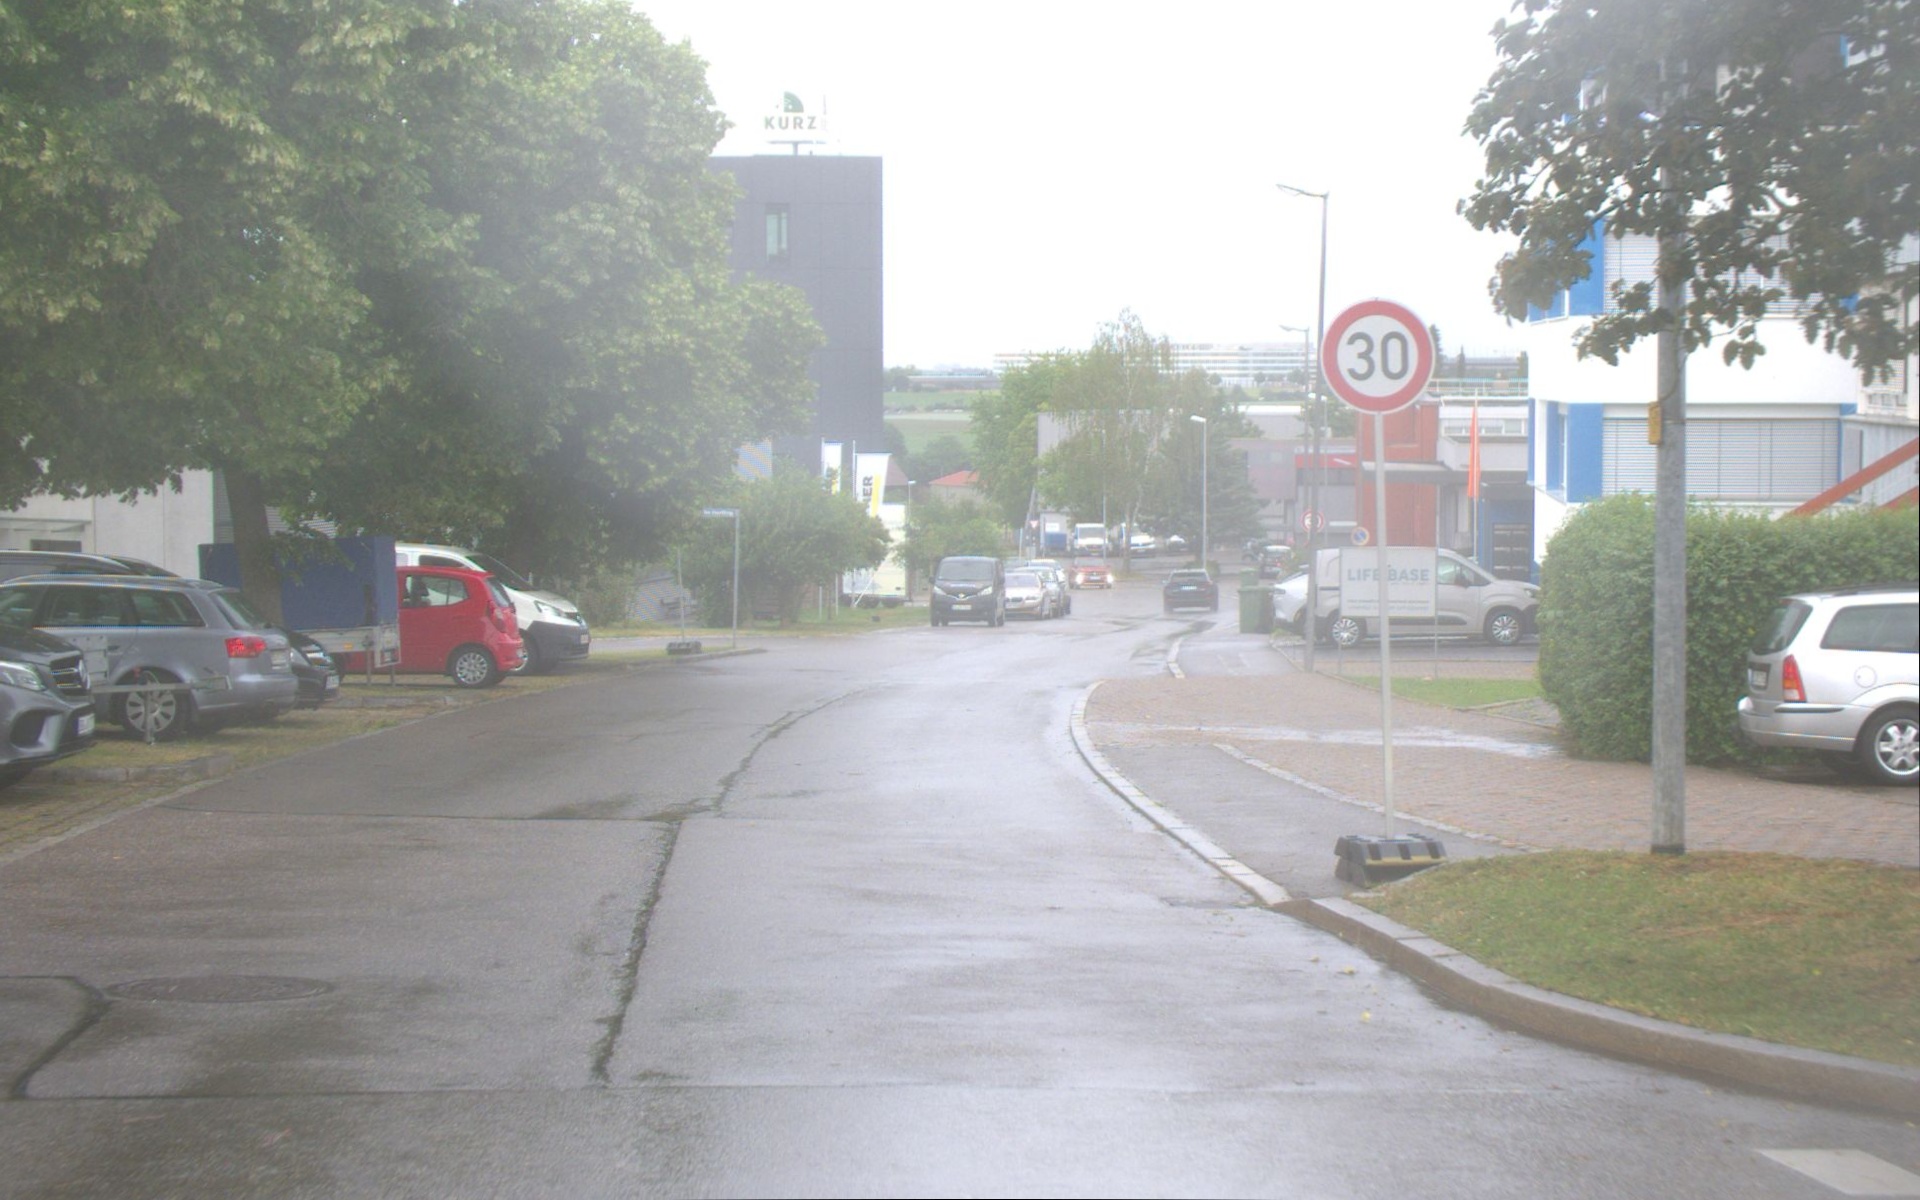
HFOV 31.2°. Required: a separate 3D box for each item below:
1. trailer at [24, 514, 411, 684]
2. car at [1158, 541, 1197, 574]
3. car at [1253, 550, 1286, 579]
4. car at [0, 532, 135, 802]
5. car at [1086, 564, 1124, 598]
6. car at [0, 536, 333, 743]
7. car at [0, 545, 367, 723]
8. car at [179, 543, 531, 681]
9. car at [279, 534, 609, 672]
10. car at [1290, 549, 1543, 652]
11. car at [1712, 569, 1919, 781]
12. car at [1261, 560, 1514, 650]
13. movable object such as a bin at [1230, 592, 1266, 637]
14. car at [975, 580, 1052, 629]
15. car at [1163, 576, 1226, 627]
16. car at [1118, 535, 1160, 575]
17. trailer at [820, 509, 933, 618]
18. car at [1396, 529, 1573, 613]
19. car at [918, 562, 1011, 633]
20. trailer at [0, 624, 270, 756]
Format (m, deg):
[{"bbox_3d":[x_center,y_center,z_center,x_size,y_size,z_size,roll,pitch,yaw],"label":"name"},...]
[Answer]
[{"bbox_3d":[-8.871,-0.011,41.266,4.212,1.977,1.774,0,0,3],"label":"trailer"},{"bbox_3d":[13.820,-2.703,218.511,2.145,2.007,3.939,0,0,-1],"label":"car"},{"bbox_3d":[16.407,-1.848,182.071,1.697,1.470,3.999,0,0,5],"label":"car"},{"bbox_3d":[-7.908,0.436,22.859,4.367,1.716,2.045,0,0,-1],"label":"car"},{"bbox_3d":[7.072,-0.906,167.424,1.747,1.503,3.935,-2,-1,2],"label":"car"},{"bbox_3d":[-7.923,0.313,30.901,4.074,1.716,2.025,2,0,4],"label":"car"},{"bbox_3d":[-8.281,0.294,33.456,4.618,1.584,1.806,2,0,3],"label":"car"},{"bbox_3d":[-7.715,0.156,44.065,4.195,1.716,1.755,0,0,0],"label":"car"},{"bbox_3d":[-7.334,0.051,49.028,4.301,1.899,1.861,0,0,9],"label":"car"},{"bbox_3d":[8.127,-0.004,61.494,4.341,1.767,2.089,-1,0,4],"label":"car"},{"bbox_3d":[8.172,0.558,26.622,4.313,1.579,1.858,0,0,2],"label":"car"},{"bbox_3d":[8.000,0.088,64.610,4.598,1.533,2.079,-2,0,5],"label":"car"},{"bbox_3d":[6.595,0.333,78.657,0.772,1.026,0.808,0,0,7],"label":"movable object such as a bin"},{"bbox_3d":[1.672,0.117,105.737,1.956,1.456,5.246,0,0,5],"label":"car"},{"bbox_3d":[7.854,0.055,115.656,1.956,1.670,4.472,0,-1,2],"label":"car"},{"bbox_3d":[11.325,-2.817,217.743,2.192,2.451,4.000,0,0,-3],"label":"car"},{"bbox_3d":[-3.273,-1.405,134.593,4.183,4.189,2.001,-1,0,44],"label":"trailer"},{"bbox_3d":[16.873,-0.922,110.799,5.299,2.007,2.221,-8,-1,6],"label":"car"},{"bbox_3d":[0.140,-0.086,91.176,1.916,1.825,4.846,0,0,7],"label":"car"},{"bbox_3d":[-7.853,0.707,28.225,3.941,0.958,2.000,1,1,1],"label":"trailer"}]
